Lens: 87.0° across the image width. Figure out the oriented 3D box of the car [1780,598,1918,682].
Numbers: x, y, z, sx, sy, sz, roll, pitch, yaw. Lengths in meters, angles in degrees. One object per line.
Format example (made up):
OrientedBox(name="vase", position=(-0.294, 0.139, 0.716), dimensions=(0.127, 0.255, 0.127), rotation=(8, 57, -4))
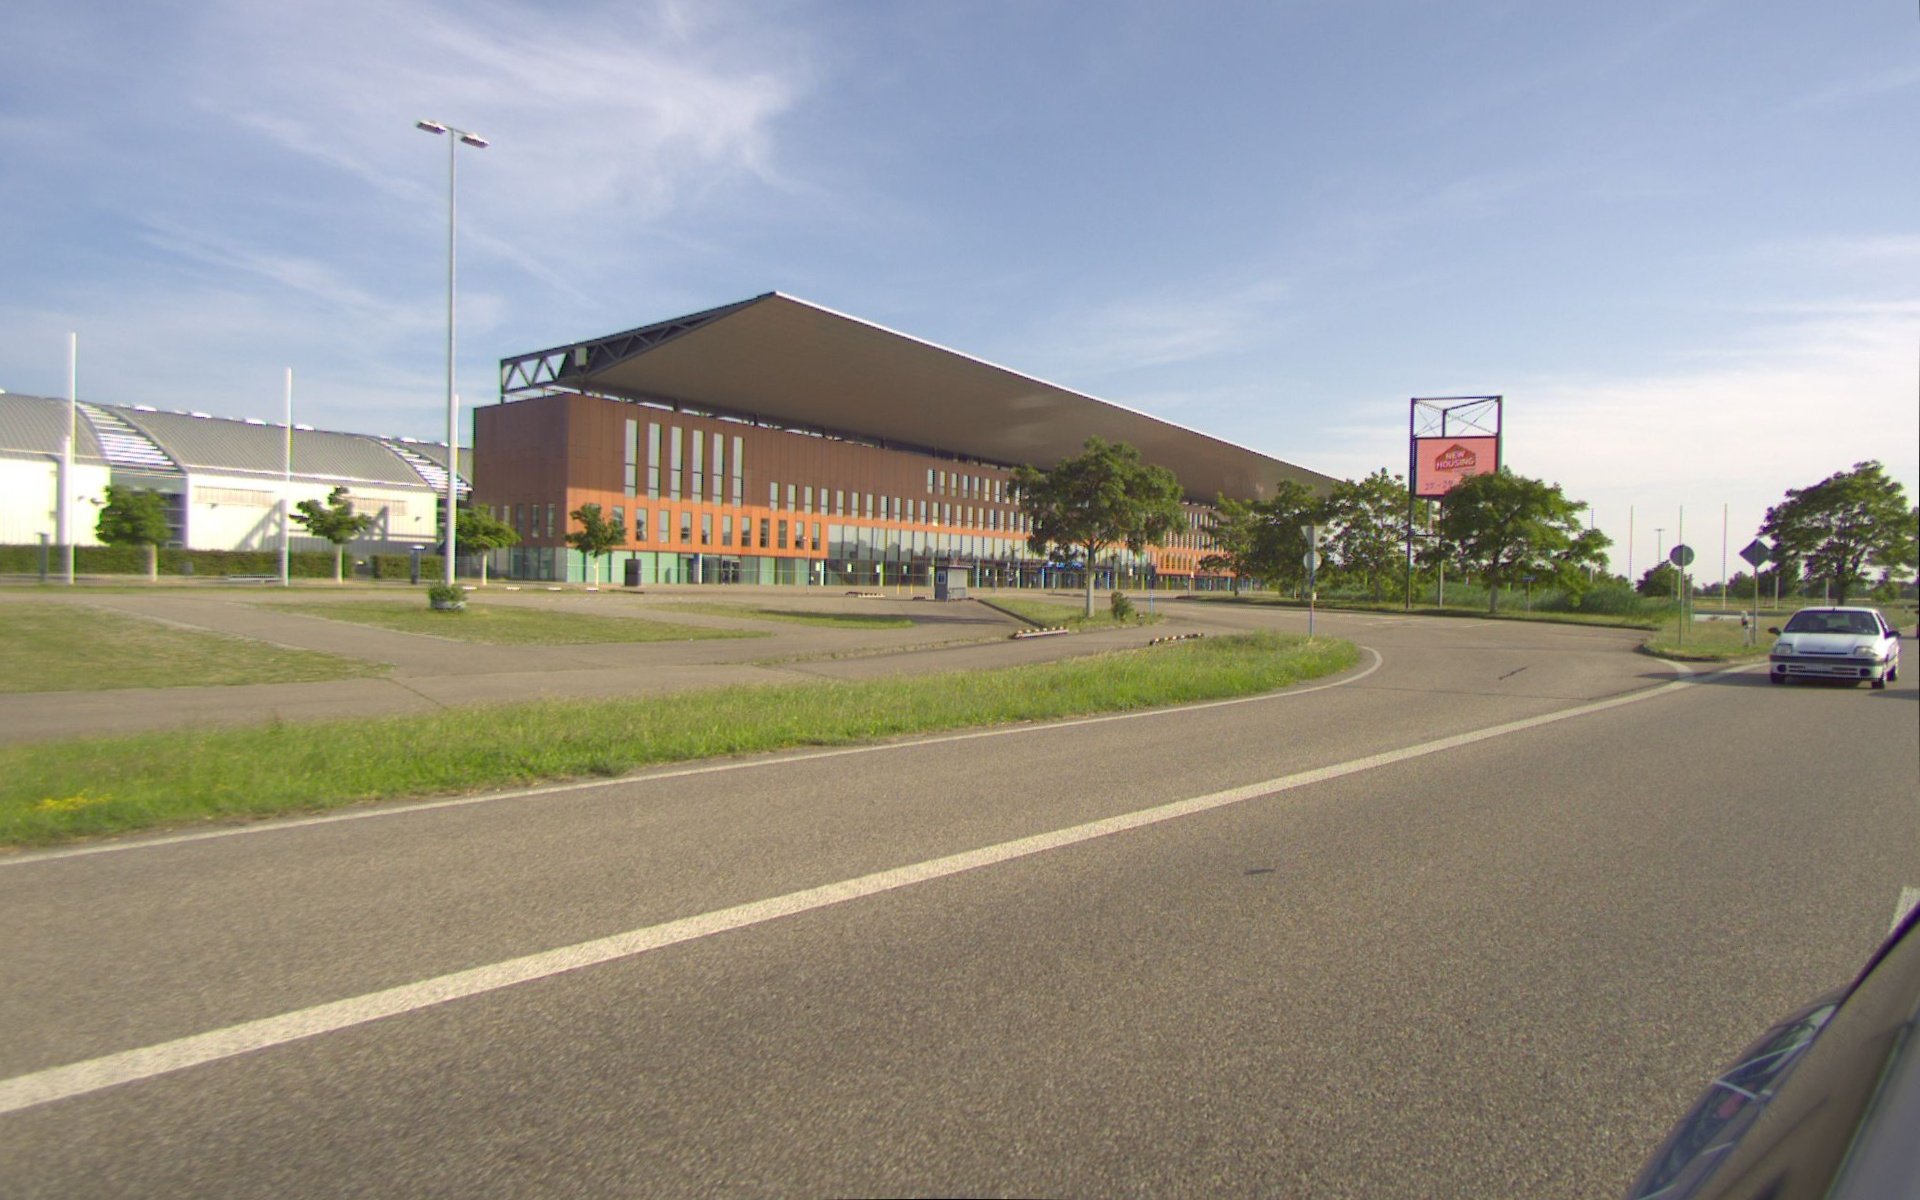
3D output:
OrientedBox(name="car", position=(16.557, 0.670, 18.804), dimensions=(3.393, 1.396, 1.576), rotation=(0, 1, -43))
